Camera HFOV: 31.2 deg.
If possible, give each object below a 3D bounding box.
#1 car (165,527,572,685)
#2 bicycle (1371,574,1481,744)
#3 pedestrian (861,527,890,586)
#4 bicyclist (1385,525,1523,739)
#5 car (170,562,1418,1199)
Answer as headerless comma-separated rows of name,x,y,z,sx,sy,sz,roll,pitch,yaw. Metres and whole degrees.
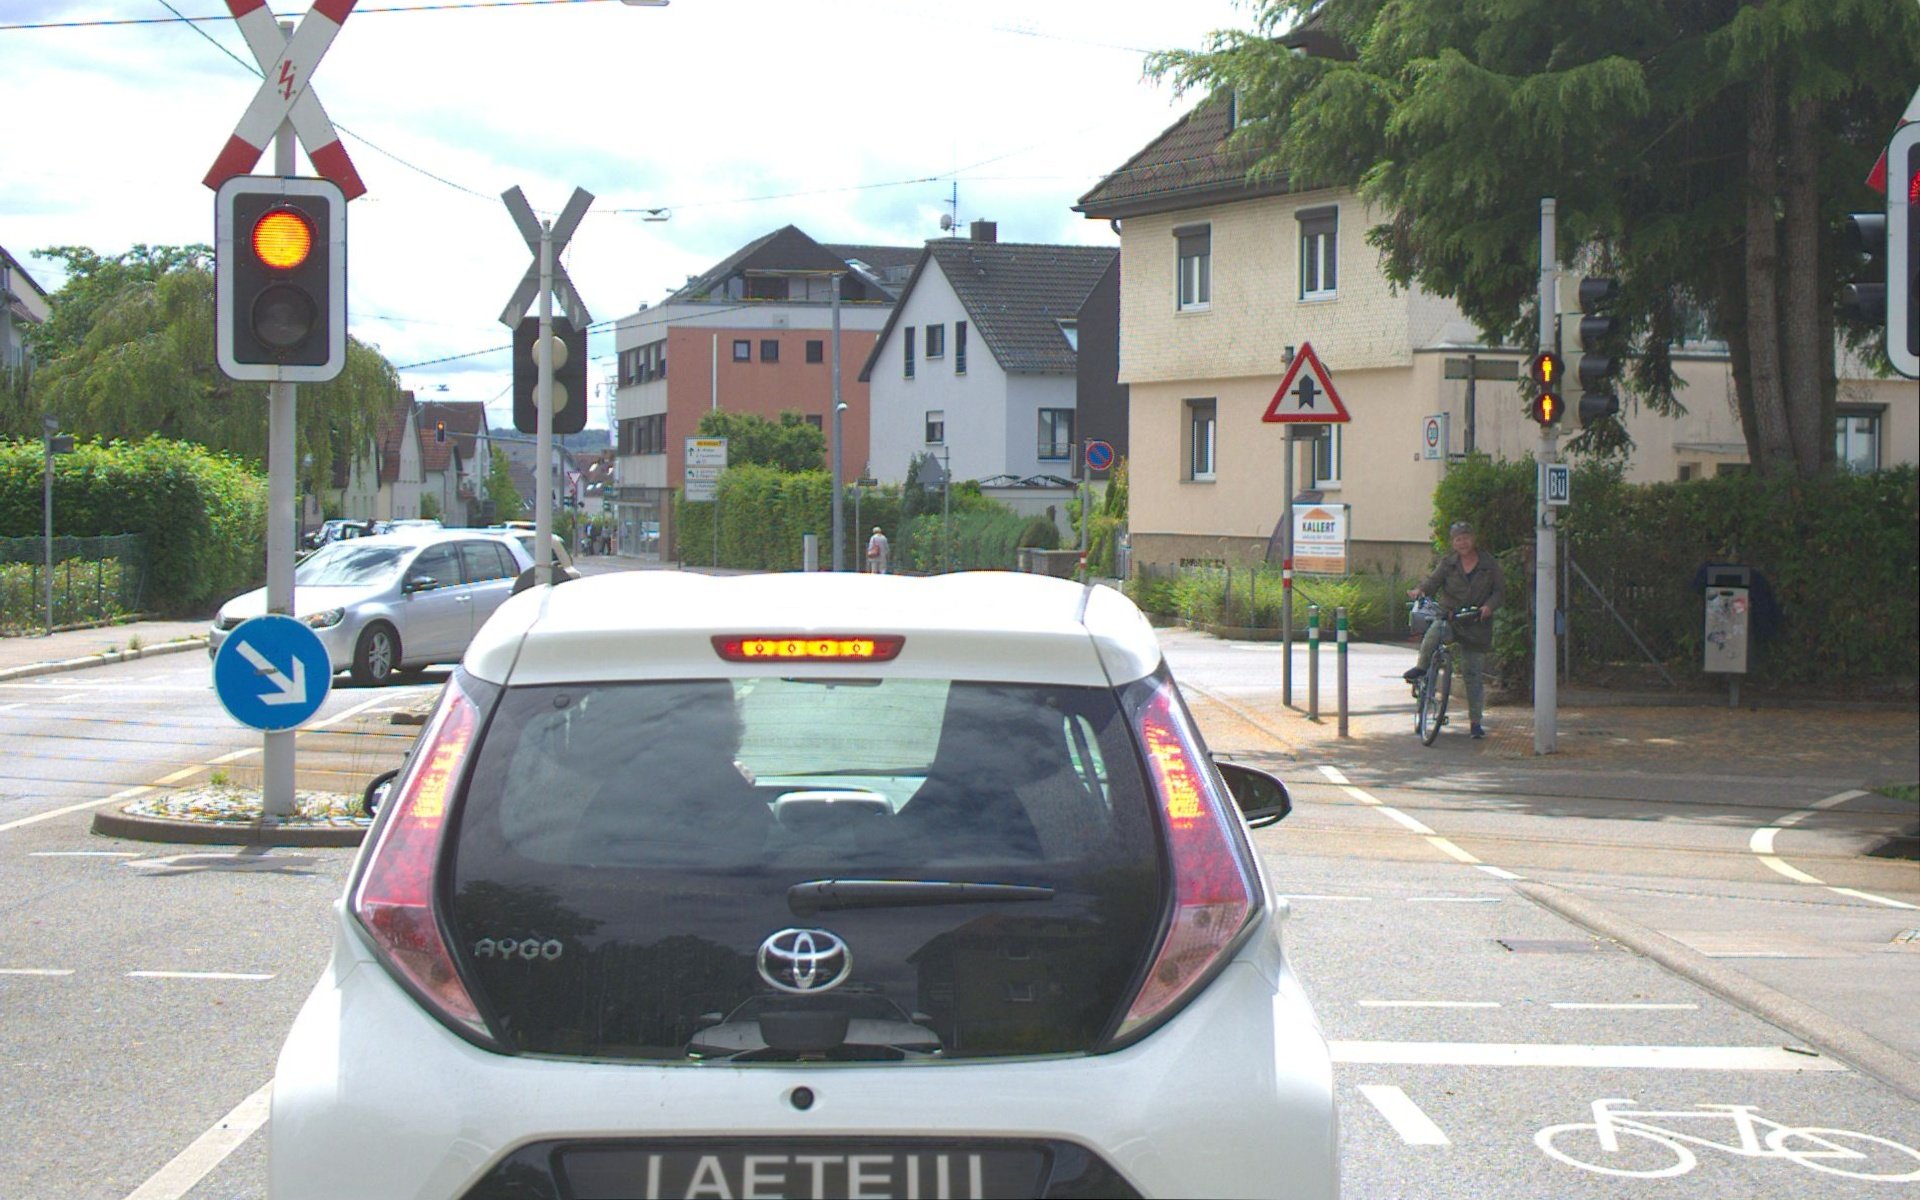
car,-5.862,0.042,34.535,1.908,1.436,4.092,2,1,28
bicycle,3.538,0.434,26.204,0.457,1.168,1.480,-2,4,-6
pedestrian,-2.260,-1.178,92.449,0.726,1.571,0.803,2,1,0
bicyclist,3.757,0.230,26.180,0.840,1.548,0.756,-2,3,-6
car,-0.352,0.672,6.628,1.721,1.437,3.709,1,1,-4
